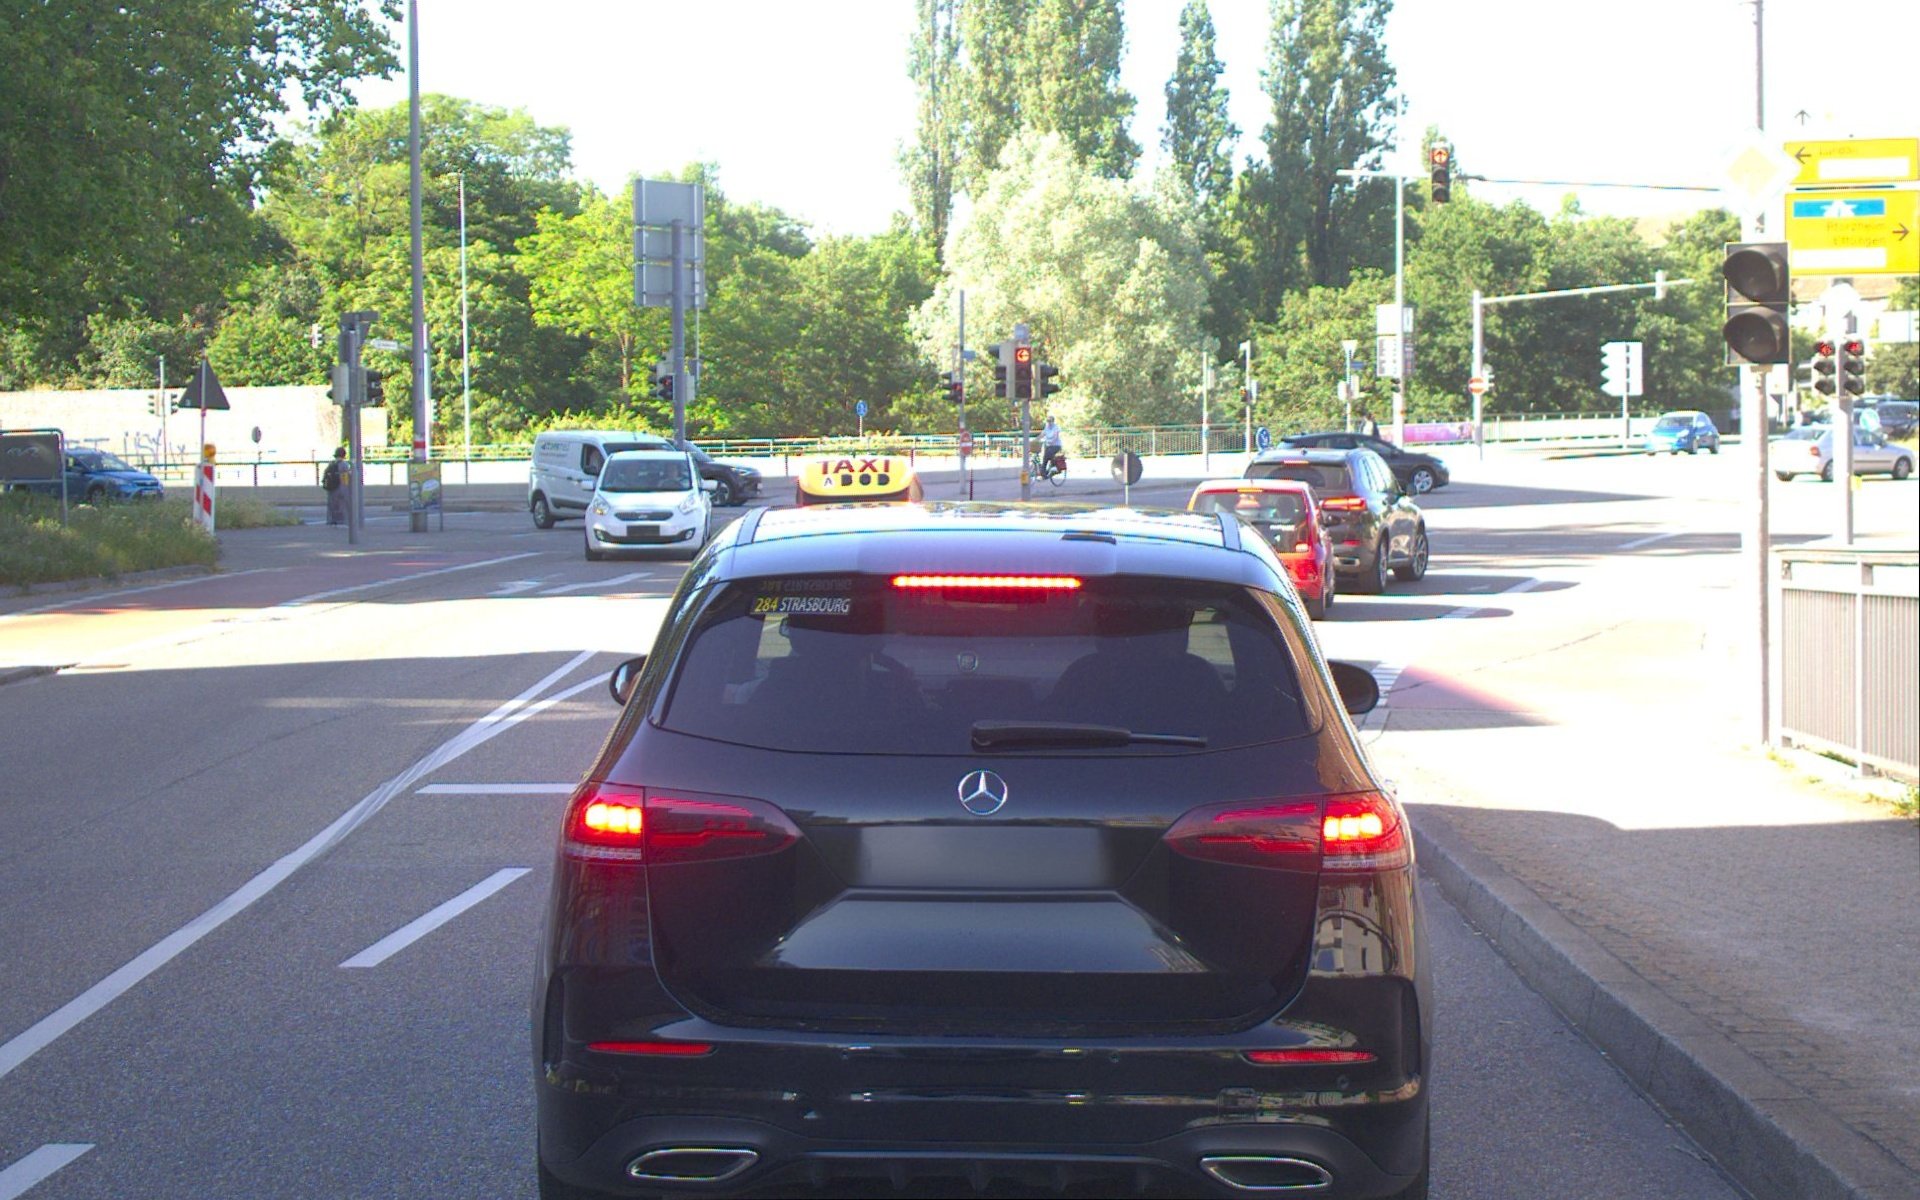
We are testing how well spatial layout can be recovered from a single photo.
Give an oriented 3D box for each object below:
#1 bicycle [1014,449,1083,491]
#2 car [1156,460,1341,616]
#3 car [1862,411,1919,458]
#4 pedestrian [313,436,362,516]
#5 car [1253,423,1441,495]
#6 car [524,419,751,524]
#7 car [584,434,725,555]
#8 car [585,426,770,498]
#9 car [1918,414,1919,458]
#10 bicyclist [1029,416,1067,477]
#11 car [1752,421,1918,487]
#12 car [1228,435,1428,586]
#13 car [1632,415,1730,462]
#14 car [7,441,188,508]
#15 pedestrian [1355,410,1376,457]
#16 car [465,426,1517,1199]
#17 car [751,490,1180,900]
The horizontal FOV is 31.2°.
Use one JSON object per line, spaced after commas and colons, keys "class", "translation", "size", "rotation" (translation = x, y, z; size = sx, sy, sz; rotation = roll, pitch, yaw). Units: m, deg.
{"class": "bicycle", "translation": [2.301, -3.380, 89.398], "size": [1.985, 1.046, 0.527], "rotation": [-4, 3, -44]}
{"class": "car", "translation": [3.202, -0.718, 37.670], "size": [1.722, 1.516, 3.485], "rotation": [0, 4, 10]}
{"class": "car", "translation": [32.674, -5.710, 118.300], "size": [1.882, 1.572, 3.992], "rotation": [1, 4, 35]}
{"class": "pedestrian", "translation": [-11.973, -2.382, 66.143], "size": [0.705, 1.520, 0.743], "rotation": [1, 2, 10]}
{"class": "car", "translation": [9.028, -3.304, 80.326], "size": [3.986, 1.624, 1.892], "rotation": [-1, 2, -10]}
{"class": "car", "translation": [-5.927, -2.338, 62.631], "size": [1.918, 1.788, 4.898], "rotation": [-3, 3, -35]}
{"class": "car", "translation": [-4.559, -1.626, 51.708], "size": [1.778, 1.629, 4.001], "rotation": [-2, 4, -1]}
{"class": "car", "translation": [-6.507, -3.190, 79.453], "size": [3.987, 1.624, 1.891], "rotation": [0, 2, 5]}
{"class": "car", "translation": [36.284, -5.969, 124.455], "size": [1.882, 1.572, 3.992], "rotation": [1, 4, 35]}
{"class": "bicyclist", "translation": [2.296, -3.994, 89.361], "size": [0.805, 1.545, 0.527], "rotation": [-4, 3, -44]}
{"class": "car", "translation": [22.035, -3.678, 86.555], "size": [3.987, 1.624, 1.891], "rotation": [-2, 3, -34]}
{"class": "car", "translation": [4.687, -1.128, 43.298], "size": [1.723, 1.806, 4.294], "rotation": [0, 2, 17]}
{"class": "car", "translation": [24.952, -5.581, 118.830], "size": [1.882, 1.572, 3.992], "rotation": [1, 4, 35]}
{"class": "car", "translation": [-21.409, -3.112, 85.254], "size": [4.405, 1.624, 1.887], "rotation": [1, 3, 35]}
{"class": "pedestrian", "translation": [13.712, -5.639, 116.237], "size": [0.451, 1.580, 0.500], "rotation": [1, 3, 40]}
{"class": "car", "translation": [0.017, 0.442, 8.197], "size": [1.877, 1.607, 4.001], "rotation": [1, 2, -1]}
{"class": "car", "translation": [0.060, 0.319, 15.157], "size": [1.640, 1.524, 3.474], "rotation": [-1, 3, 1]}
